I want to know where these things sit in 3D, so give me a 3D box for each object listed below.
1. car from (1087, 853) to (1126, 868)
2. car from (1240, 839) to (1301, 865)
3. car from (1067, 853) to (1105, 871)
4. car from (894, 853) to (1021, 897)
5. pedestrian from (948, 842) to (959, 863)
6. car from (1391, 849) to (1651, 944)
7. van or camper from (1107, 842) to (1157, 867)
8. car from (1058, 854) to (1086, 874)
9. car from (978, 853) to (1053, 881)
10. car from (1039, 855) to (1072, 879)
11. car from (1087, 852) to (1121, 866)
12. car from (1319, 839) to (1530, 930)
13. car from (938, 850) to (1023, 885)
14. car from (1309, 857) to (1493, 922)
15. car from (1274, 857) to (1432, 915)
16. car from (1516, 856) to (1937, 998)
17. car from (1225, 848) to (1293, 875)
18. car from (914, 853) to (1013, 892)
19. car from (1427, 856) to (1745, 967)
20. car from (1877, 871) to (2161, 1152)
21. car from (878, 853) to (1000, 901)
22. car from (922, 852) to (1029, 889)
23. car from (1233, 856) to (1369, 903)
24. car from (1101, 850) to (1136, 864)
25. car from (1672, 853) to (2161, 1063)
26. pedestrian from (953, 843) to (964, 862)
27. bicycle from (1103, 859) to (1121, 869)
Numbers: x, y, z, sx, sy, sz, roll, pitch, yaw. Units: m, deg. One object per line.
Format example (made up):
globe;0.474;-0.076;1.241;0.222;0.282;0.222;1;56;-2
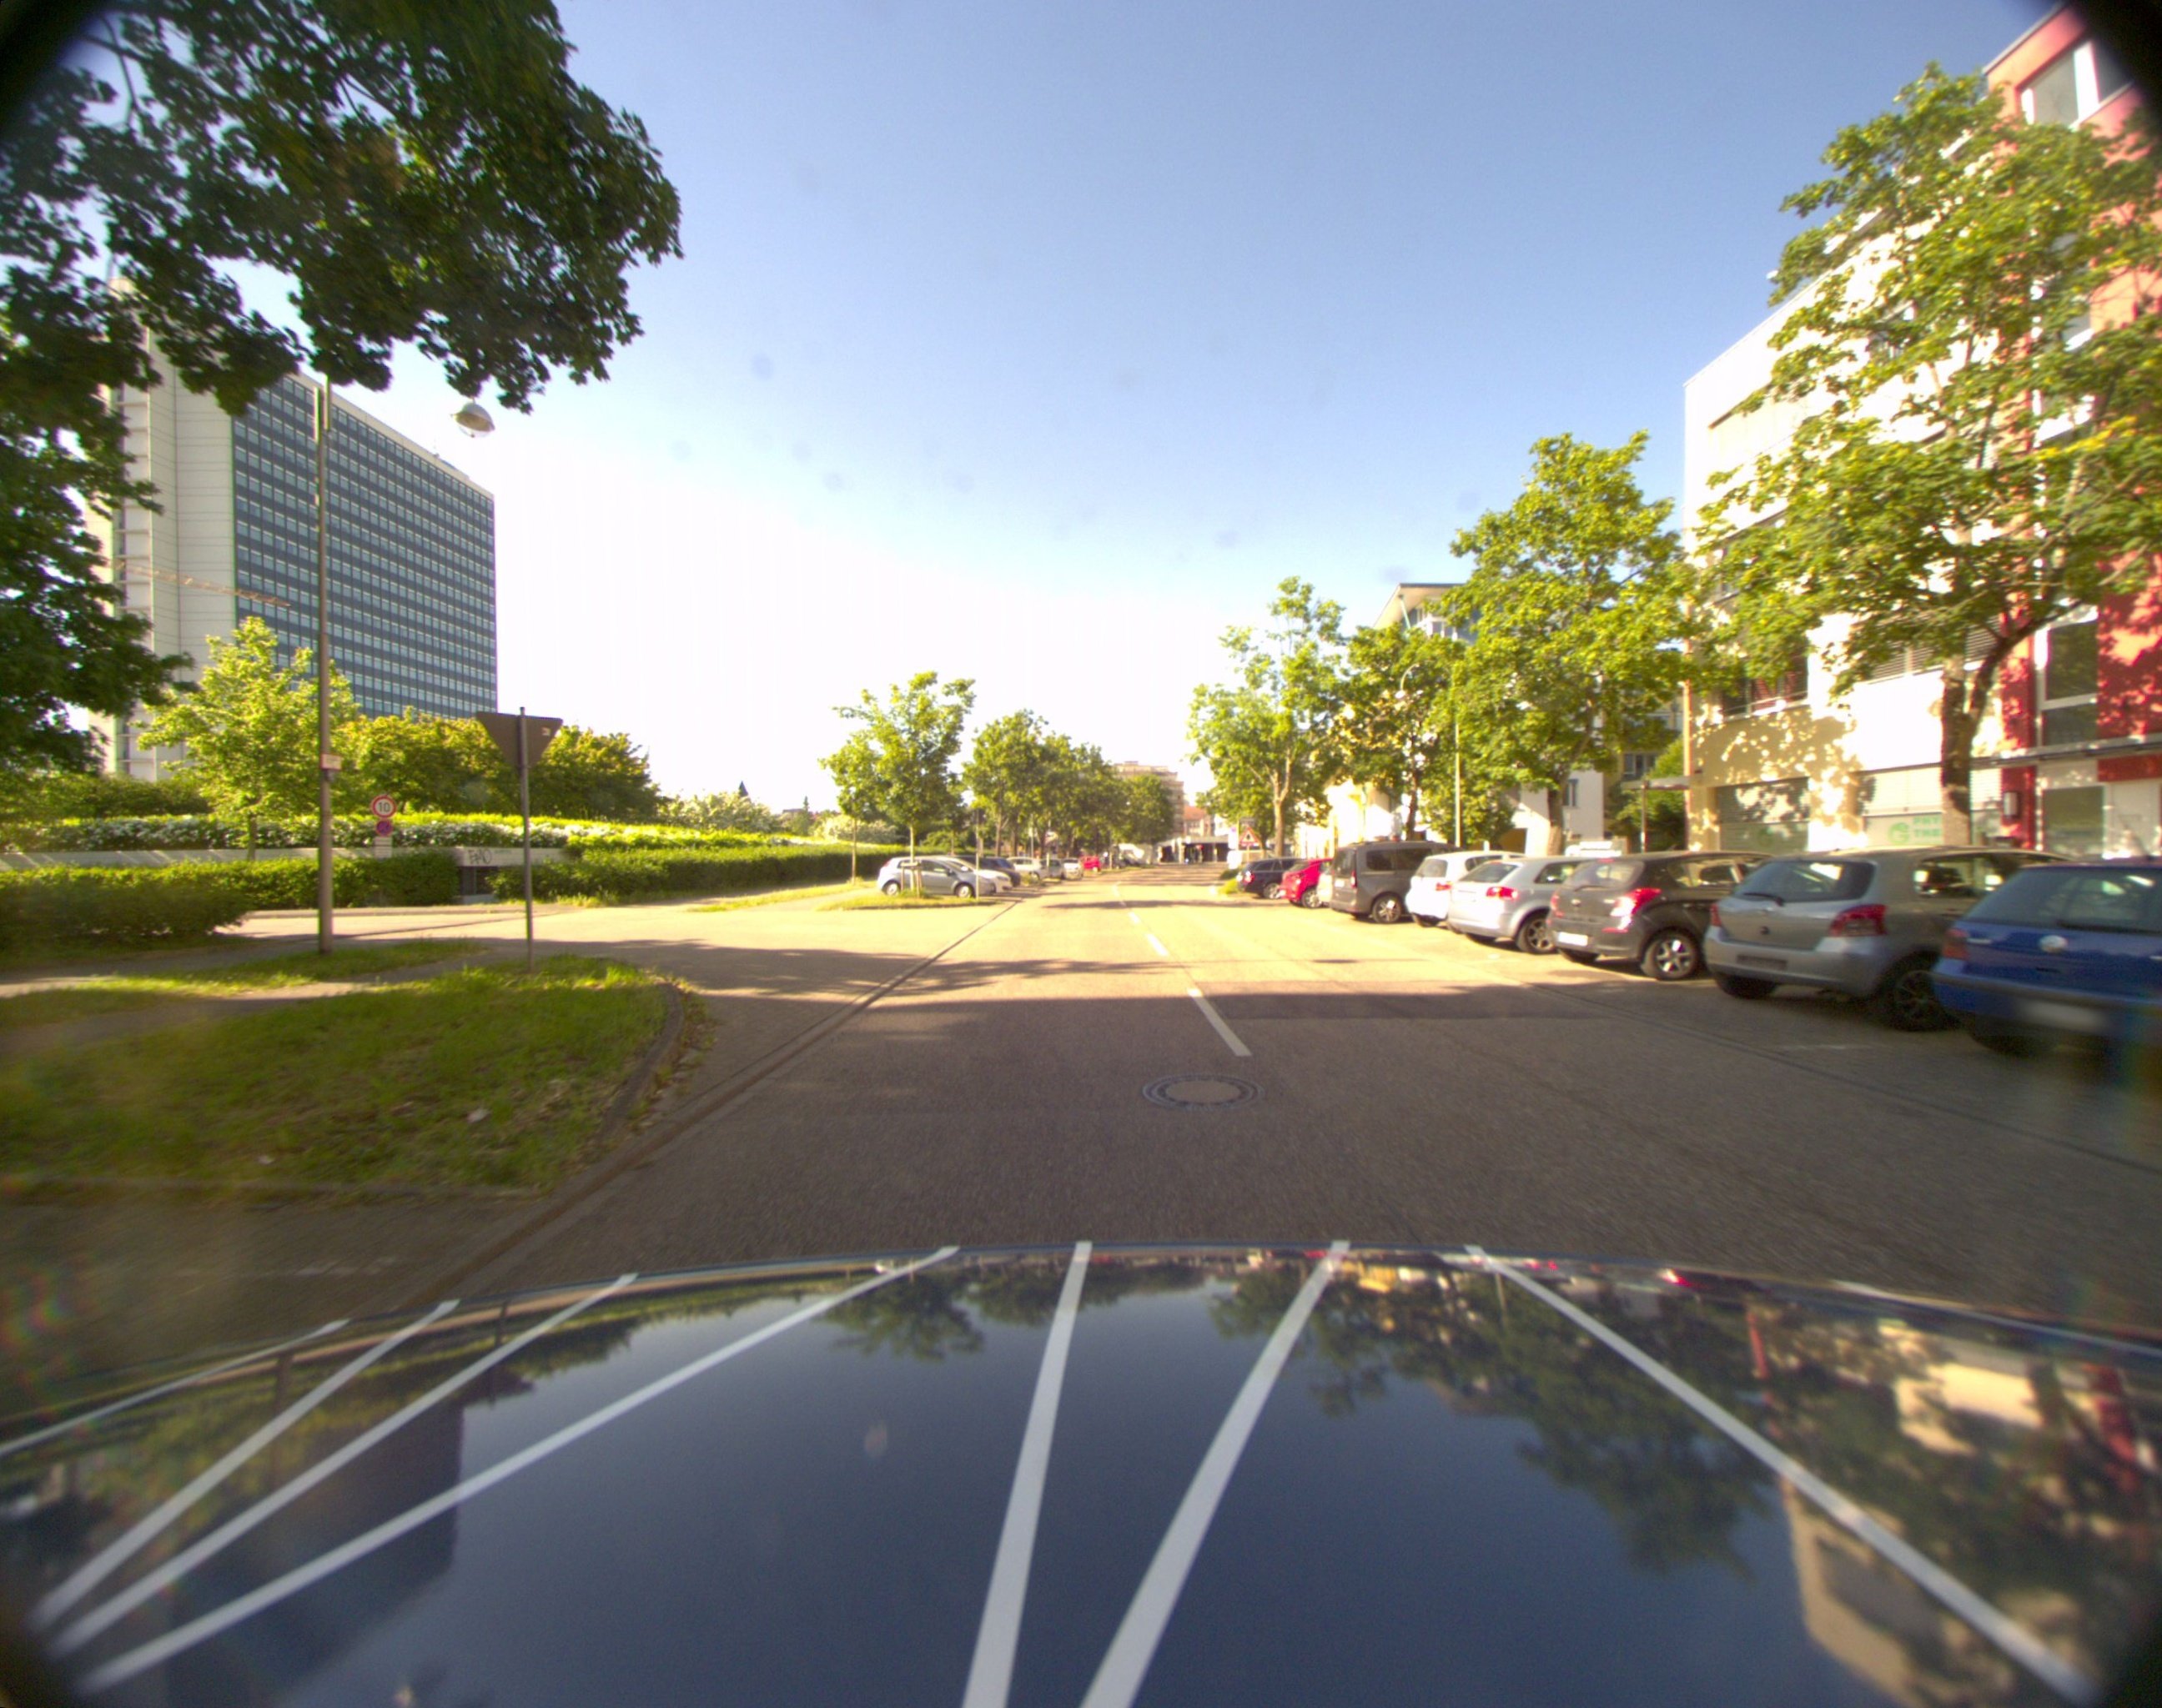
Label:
car;2.920;0.720;86.695;4.199;1.537;1.861;2;1;14
car;19.202;-0.214;77.031;5.507;2.422;2.184;-2;0;-14
car;0.517;0.798;74.660;3.438;1.535;1.629;3;1;14
car;-4.807;0.788;29.930;4.559;1.506;1.982;2;1;4
pedestrian;-9.294;-0.111;55.302;0.608;1.533;0.937;0;1;2
car;8.314;0.761;14.642;3.901;1.565;1.859;-2;0;1
van or camper;6.516;0.023;97.046;5.990;2.967;2.673;2;1;12
car;-0.691;0.779;60.584;1.646;1.485;3.768;2;1;8
car;-3.858;0.743;45.156;4.096;1.421;1.643;3;1;7
car;-1.745;0.880;53.314;1.813;1.485;4.625;2;1;4
car;2.547;0.538;83.797;3.466;1.471;1.861;2;1;14
car;7.619;0.656;17.118;3.901;1.801;1.786;-2;0;1
car;-4.924;0.649;37.589;3.814;1.440;1.745;3;1;3
car;8.035;0.859;19.326;3.901;1.415;1.739;-2;0;1
car;7.745;0.888;21.878;3.901;1.415;1.739;-2;0;1
car;7.870;0.815;9.530;3.736;1.438;1.859;-2;0;-3
car;13.837;0.576;59.083;4.776;1.973;1.996;-1;0;-23
car;-4.931;0.762;32.307;3.885;1.506;1.750;2;1;1
car;7.723;0.825;11.881;3.736;1.438;1.875;-2;0;-3
car;7.747;0.845;4.683;3.736;1.419;1.840;-2;0;0
car;-5.010;0.793;27.132;3.957;1.506;1.701;2;1;2
car;-4.775;0.730;34.856;4.560;1.506;2.158;2;1;1
car;7.619;0.886;26.604;4.272;1.415;1.740;-2;0;4
car;4.686;0.378;94.392;4.155;1.537;1.860;2;1;11
car;7.962;0.812;6.880;3.736;1.500;1.859;-2;0;0
pedestrian;-10.076;-0.100;62.470;0.725;1.578;0.853;0;1;2
bicycle;3.108;1.034;77.239;1.752;0.985;0.531;1;1;25
